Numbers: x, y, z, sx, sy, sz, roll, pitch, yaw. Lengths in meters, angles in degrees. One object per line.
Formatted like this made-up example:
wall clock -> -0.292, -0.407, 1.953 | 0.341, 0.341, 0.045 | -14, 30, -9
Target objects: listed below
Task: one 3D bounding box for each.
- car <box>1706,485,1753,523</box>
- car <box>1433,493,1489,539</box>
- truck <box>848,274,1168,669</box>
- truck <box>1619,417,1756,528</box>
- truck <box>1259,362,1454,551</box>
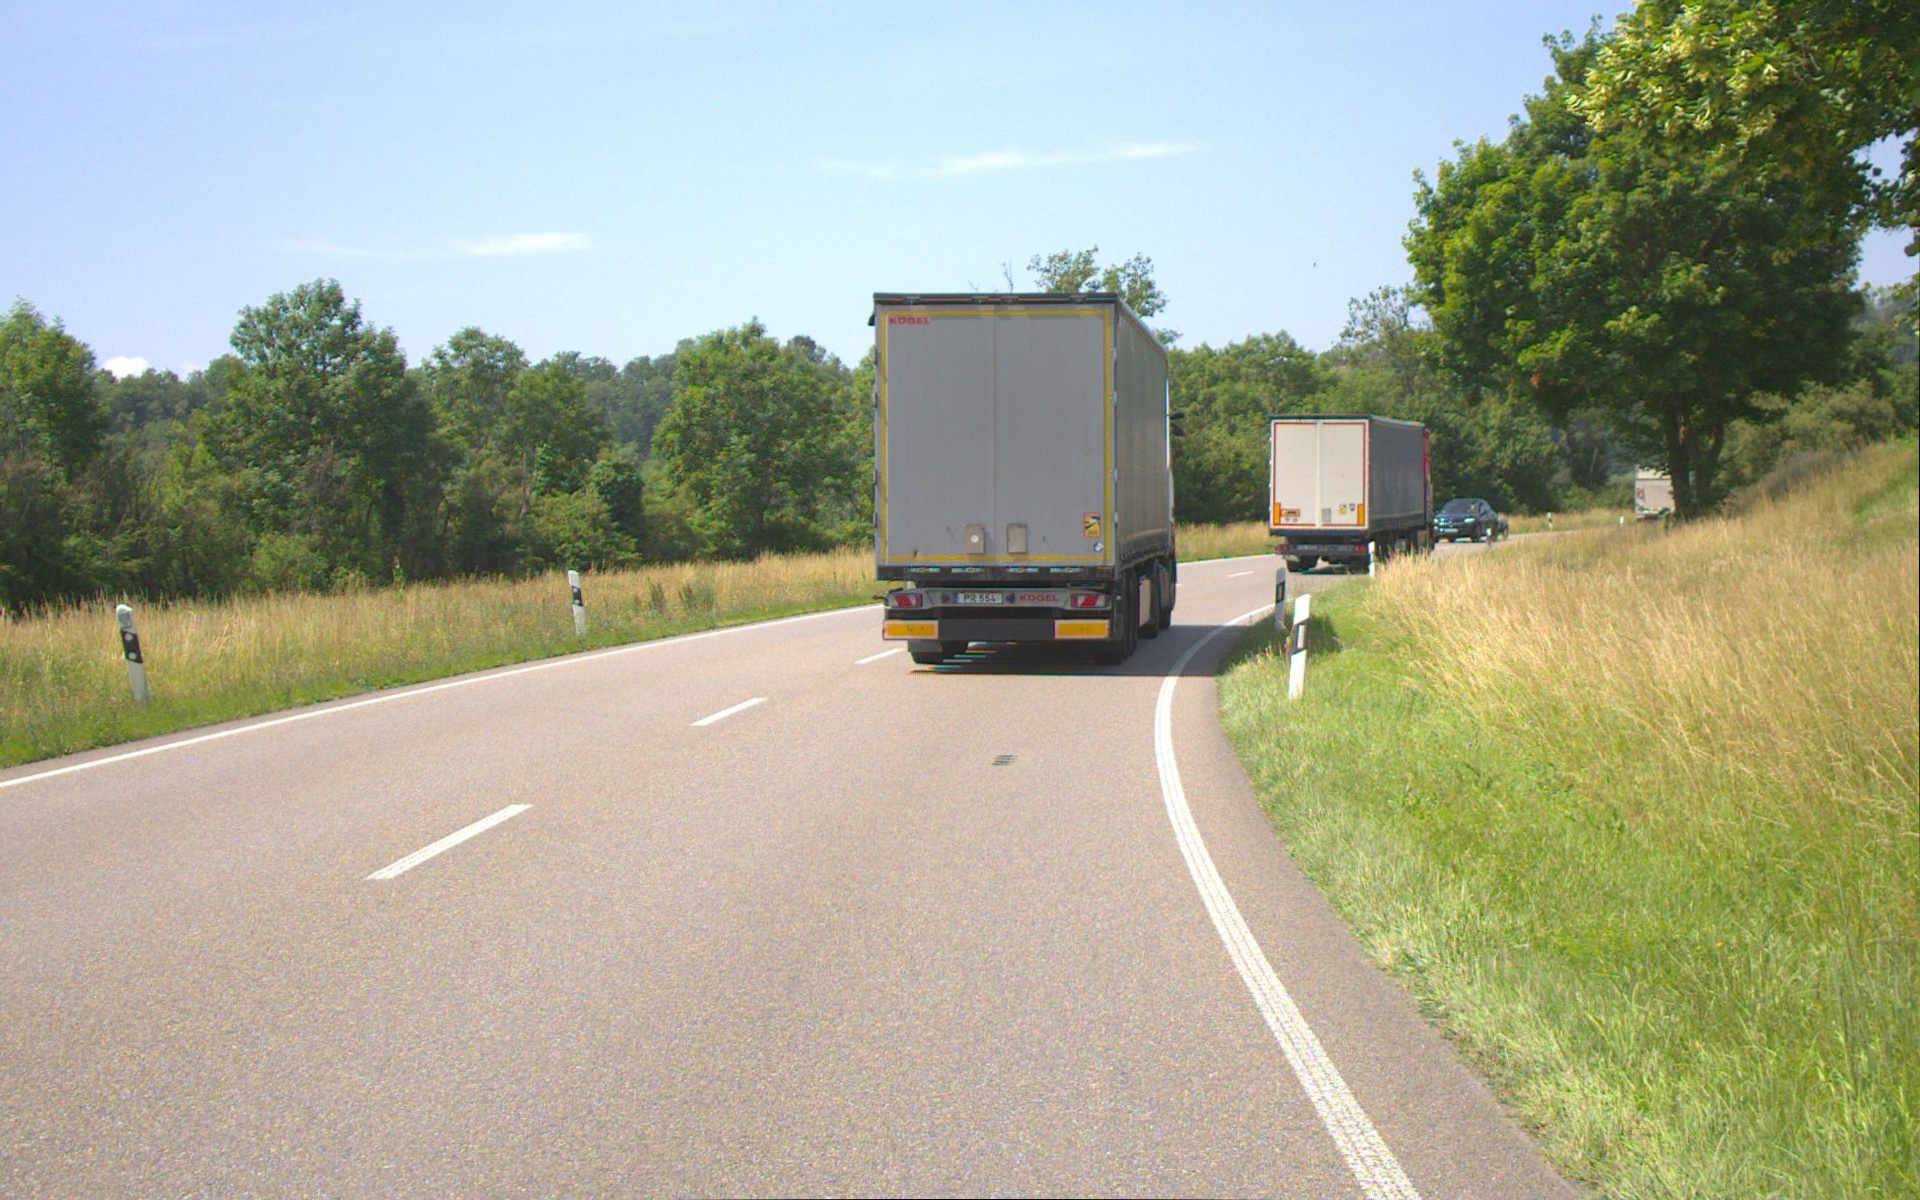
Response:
car -> 37.499, -4.673, 167.482 | 1.532, 1.791, 3.819 | 0, 1, 23
car -> 19.440, -3.258, 133.272 | 1.531, 1.711, 3.821 | -1, 1, 17
truck -> 0.951, -1.462, 43.245 | 2.802, 4.054, 15.323 | -1, 1, 5
truck -> 32.938, -5.644, 155.072 | 3.108, 4.689, 16.570 | 0, 1, 22
truck -> 11.105, -3.753, 94.419 | 3.107, 4.689, 16.579 | -1, 1, 14
